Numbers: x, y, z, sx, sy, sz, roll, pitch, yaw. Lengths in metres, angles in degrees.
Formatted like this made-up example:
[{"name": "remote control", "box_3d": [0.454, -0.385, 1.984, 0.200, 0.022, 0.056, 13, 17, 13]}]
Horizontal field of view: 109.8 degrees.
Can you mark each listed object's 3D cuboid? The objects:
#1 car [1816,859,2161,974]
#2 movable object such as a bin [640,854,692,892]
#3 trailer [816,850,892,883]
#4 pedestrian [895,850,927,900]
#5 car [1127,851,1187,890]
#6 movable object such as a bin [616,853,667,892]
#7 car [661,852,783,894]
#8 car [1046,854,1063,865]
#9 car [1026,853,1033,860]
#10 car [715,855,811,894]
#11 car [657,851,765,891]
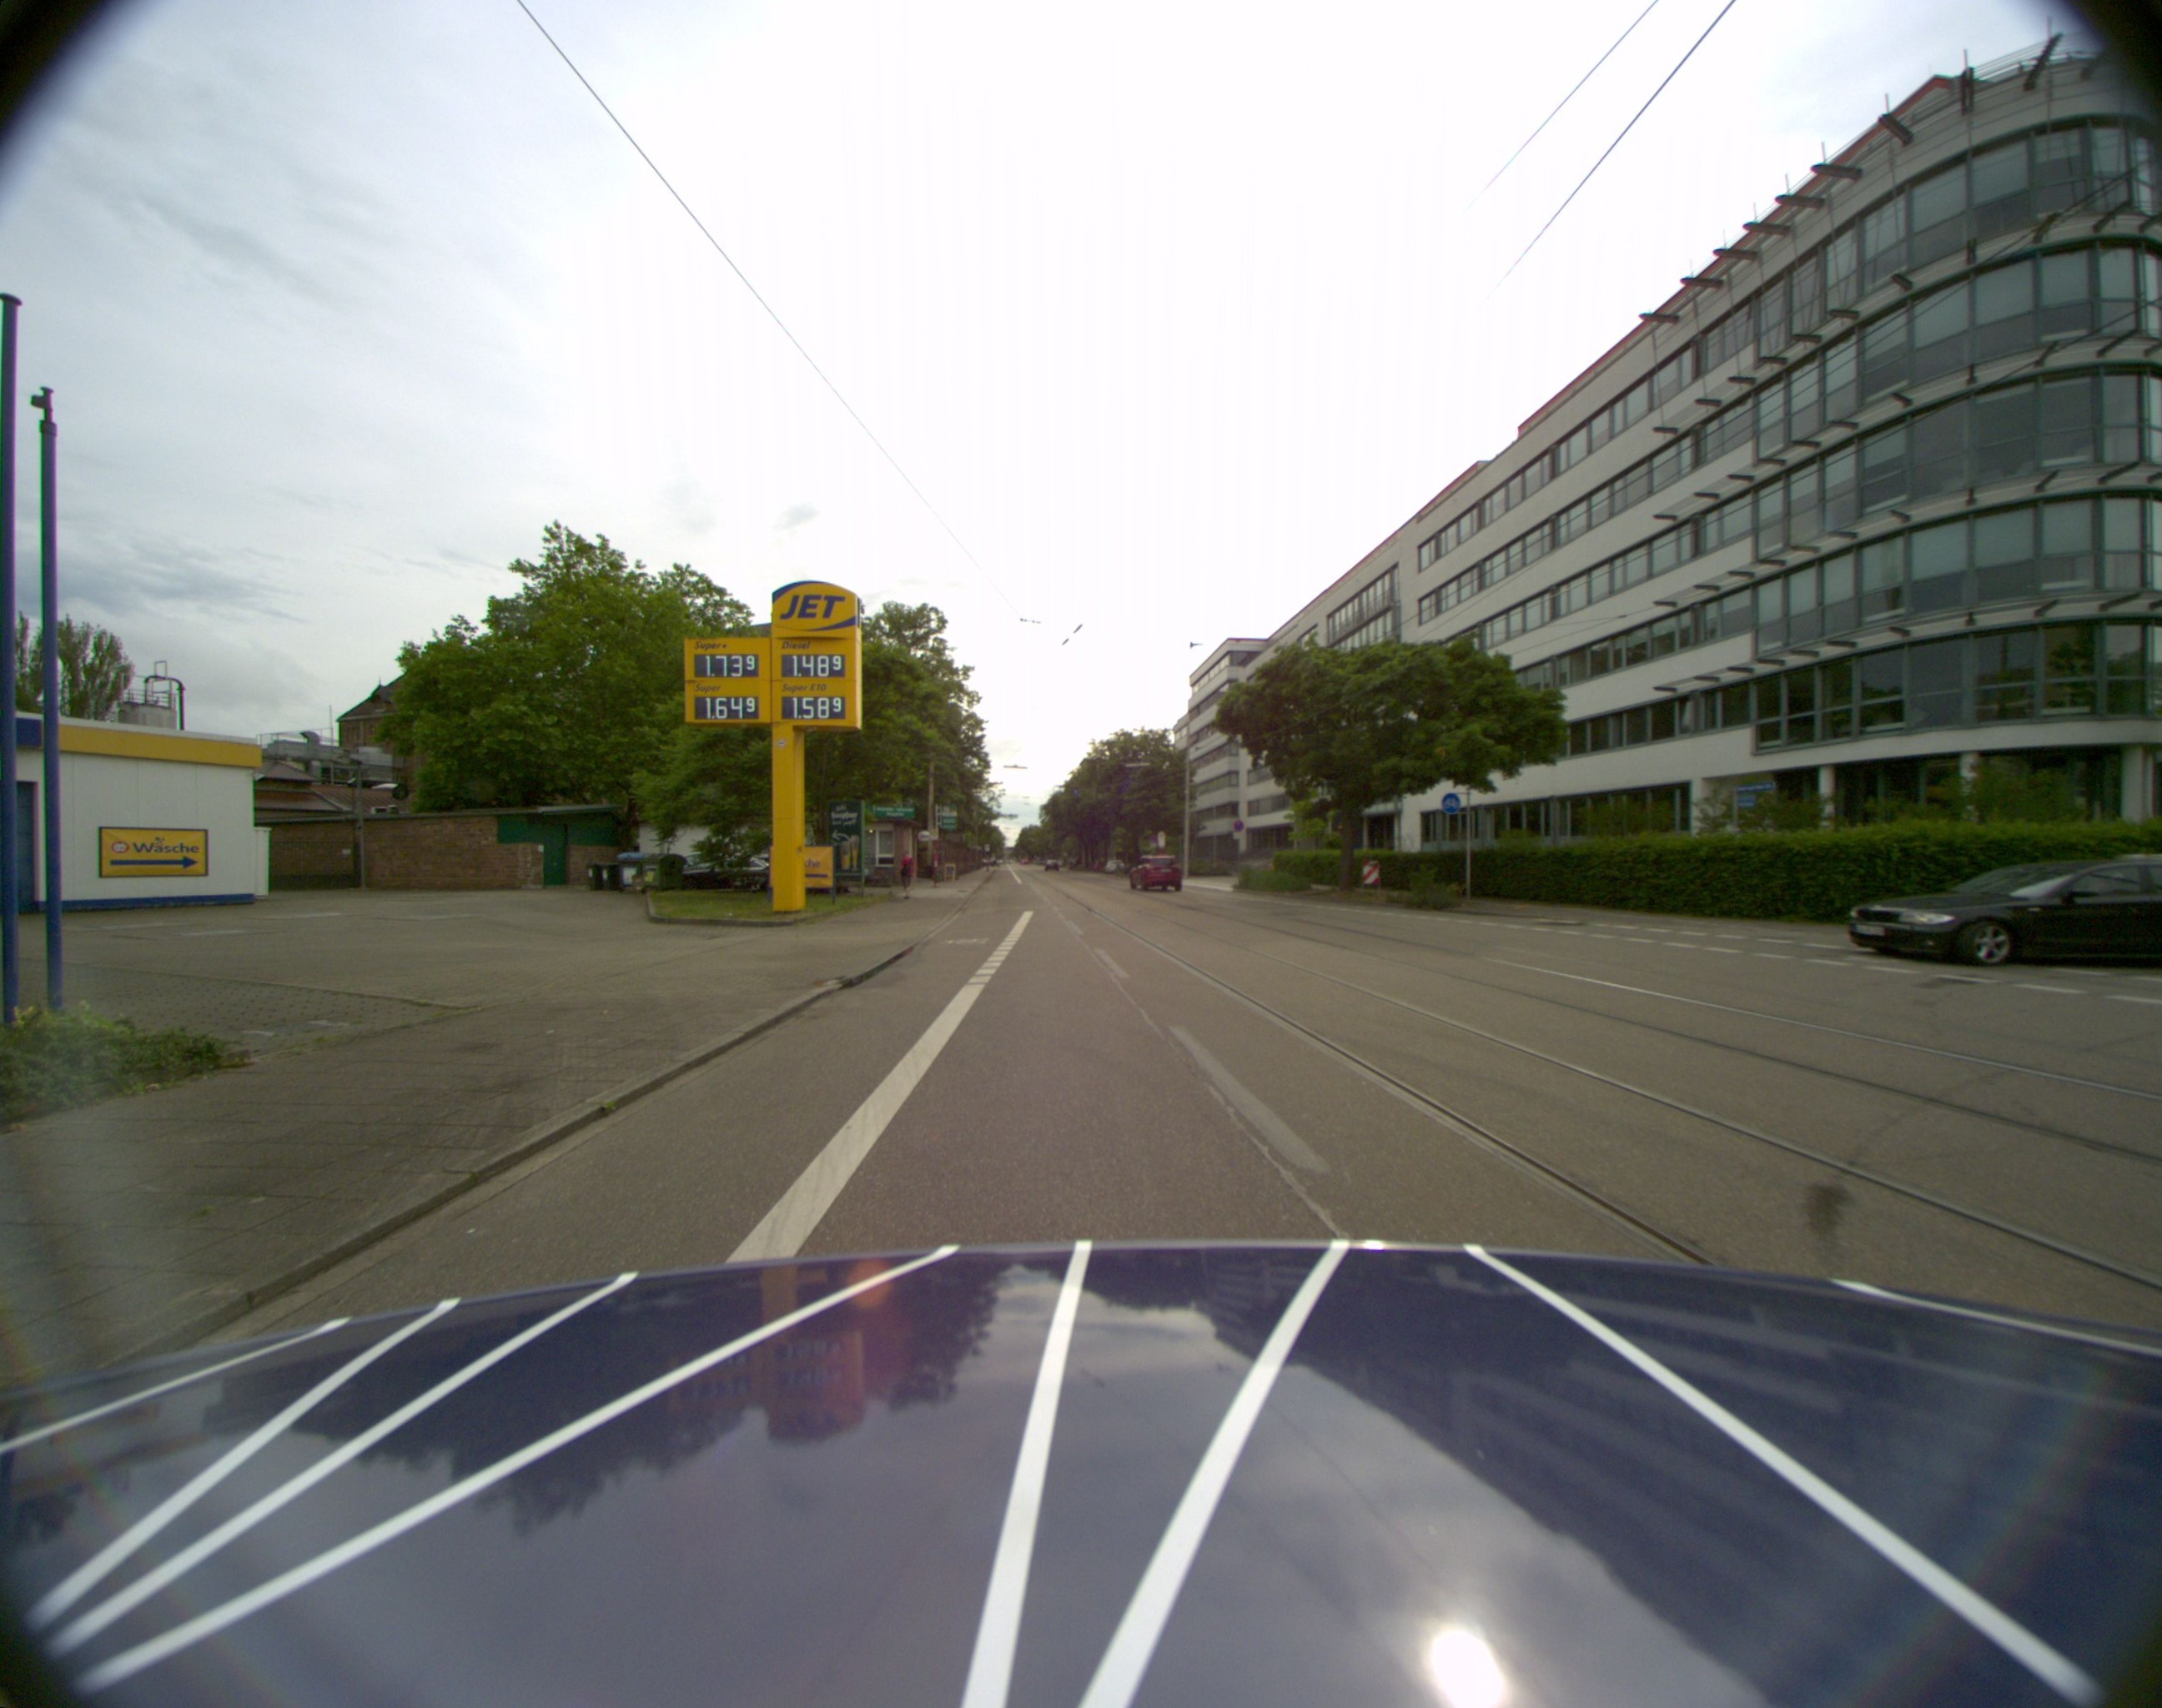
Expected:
[{"name": "car", "box_3d": [13.184, 0.807, 10.423, 4.105, 1.361, 1.790, -1, 1, 16]}, {"name": "movable object such as a bin", "box_3d": [-14.736, 0.670, 27.006, 1.118, 1.312, 1.162, -1, 1, 30]}, {"name": "trailer", "box_3d": [-11.240, 0.601, 37.749, 3.292, 1.523, 1.772, 1, 2, -5]}, {"name": "pedestrian", "box_3d": [-6.202, 0.759, 27.663, 0.871, 1.738, 0.848, 2, 1, -30]}, {"name": "car", "box_3d": [3.568, 0.738, 36.338, 1.848, 1.714, 4.404, 0, 0, -8]}, {"name": "movable object such as a bin", "box_3d": [-15.888, 0.667, 27.475, 1.118, 1.351, 1.162, -1, 1, 30]}, {"name": "car", "box_3d": [-14.419, 0.728, 30.710, 1.822, 1.509, 4.008, -1, 1, 36]}, {"name": "car", "box_3d": [-3.723, 0.774, 106.114, 1.802, 1.537, 4.477, -1, 0, -8]}, {"name": "car", "box_3d": [-16.721, 0.727, 244.865, 1.999, 2.002, 3.999, -1, 1, -1]}, {"name": "car", "box_3d": [-12.006, 0.734, 28.956, 1.999, 1.281, 3.999, -1, 0, -1]}, {"name": "car", "box_3d": [-17.037, 0.762, 35.189, 3.998, 1.657, 1.999, -1, 1, -5]}]
